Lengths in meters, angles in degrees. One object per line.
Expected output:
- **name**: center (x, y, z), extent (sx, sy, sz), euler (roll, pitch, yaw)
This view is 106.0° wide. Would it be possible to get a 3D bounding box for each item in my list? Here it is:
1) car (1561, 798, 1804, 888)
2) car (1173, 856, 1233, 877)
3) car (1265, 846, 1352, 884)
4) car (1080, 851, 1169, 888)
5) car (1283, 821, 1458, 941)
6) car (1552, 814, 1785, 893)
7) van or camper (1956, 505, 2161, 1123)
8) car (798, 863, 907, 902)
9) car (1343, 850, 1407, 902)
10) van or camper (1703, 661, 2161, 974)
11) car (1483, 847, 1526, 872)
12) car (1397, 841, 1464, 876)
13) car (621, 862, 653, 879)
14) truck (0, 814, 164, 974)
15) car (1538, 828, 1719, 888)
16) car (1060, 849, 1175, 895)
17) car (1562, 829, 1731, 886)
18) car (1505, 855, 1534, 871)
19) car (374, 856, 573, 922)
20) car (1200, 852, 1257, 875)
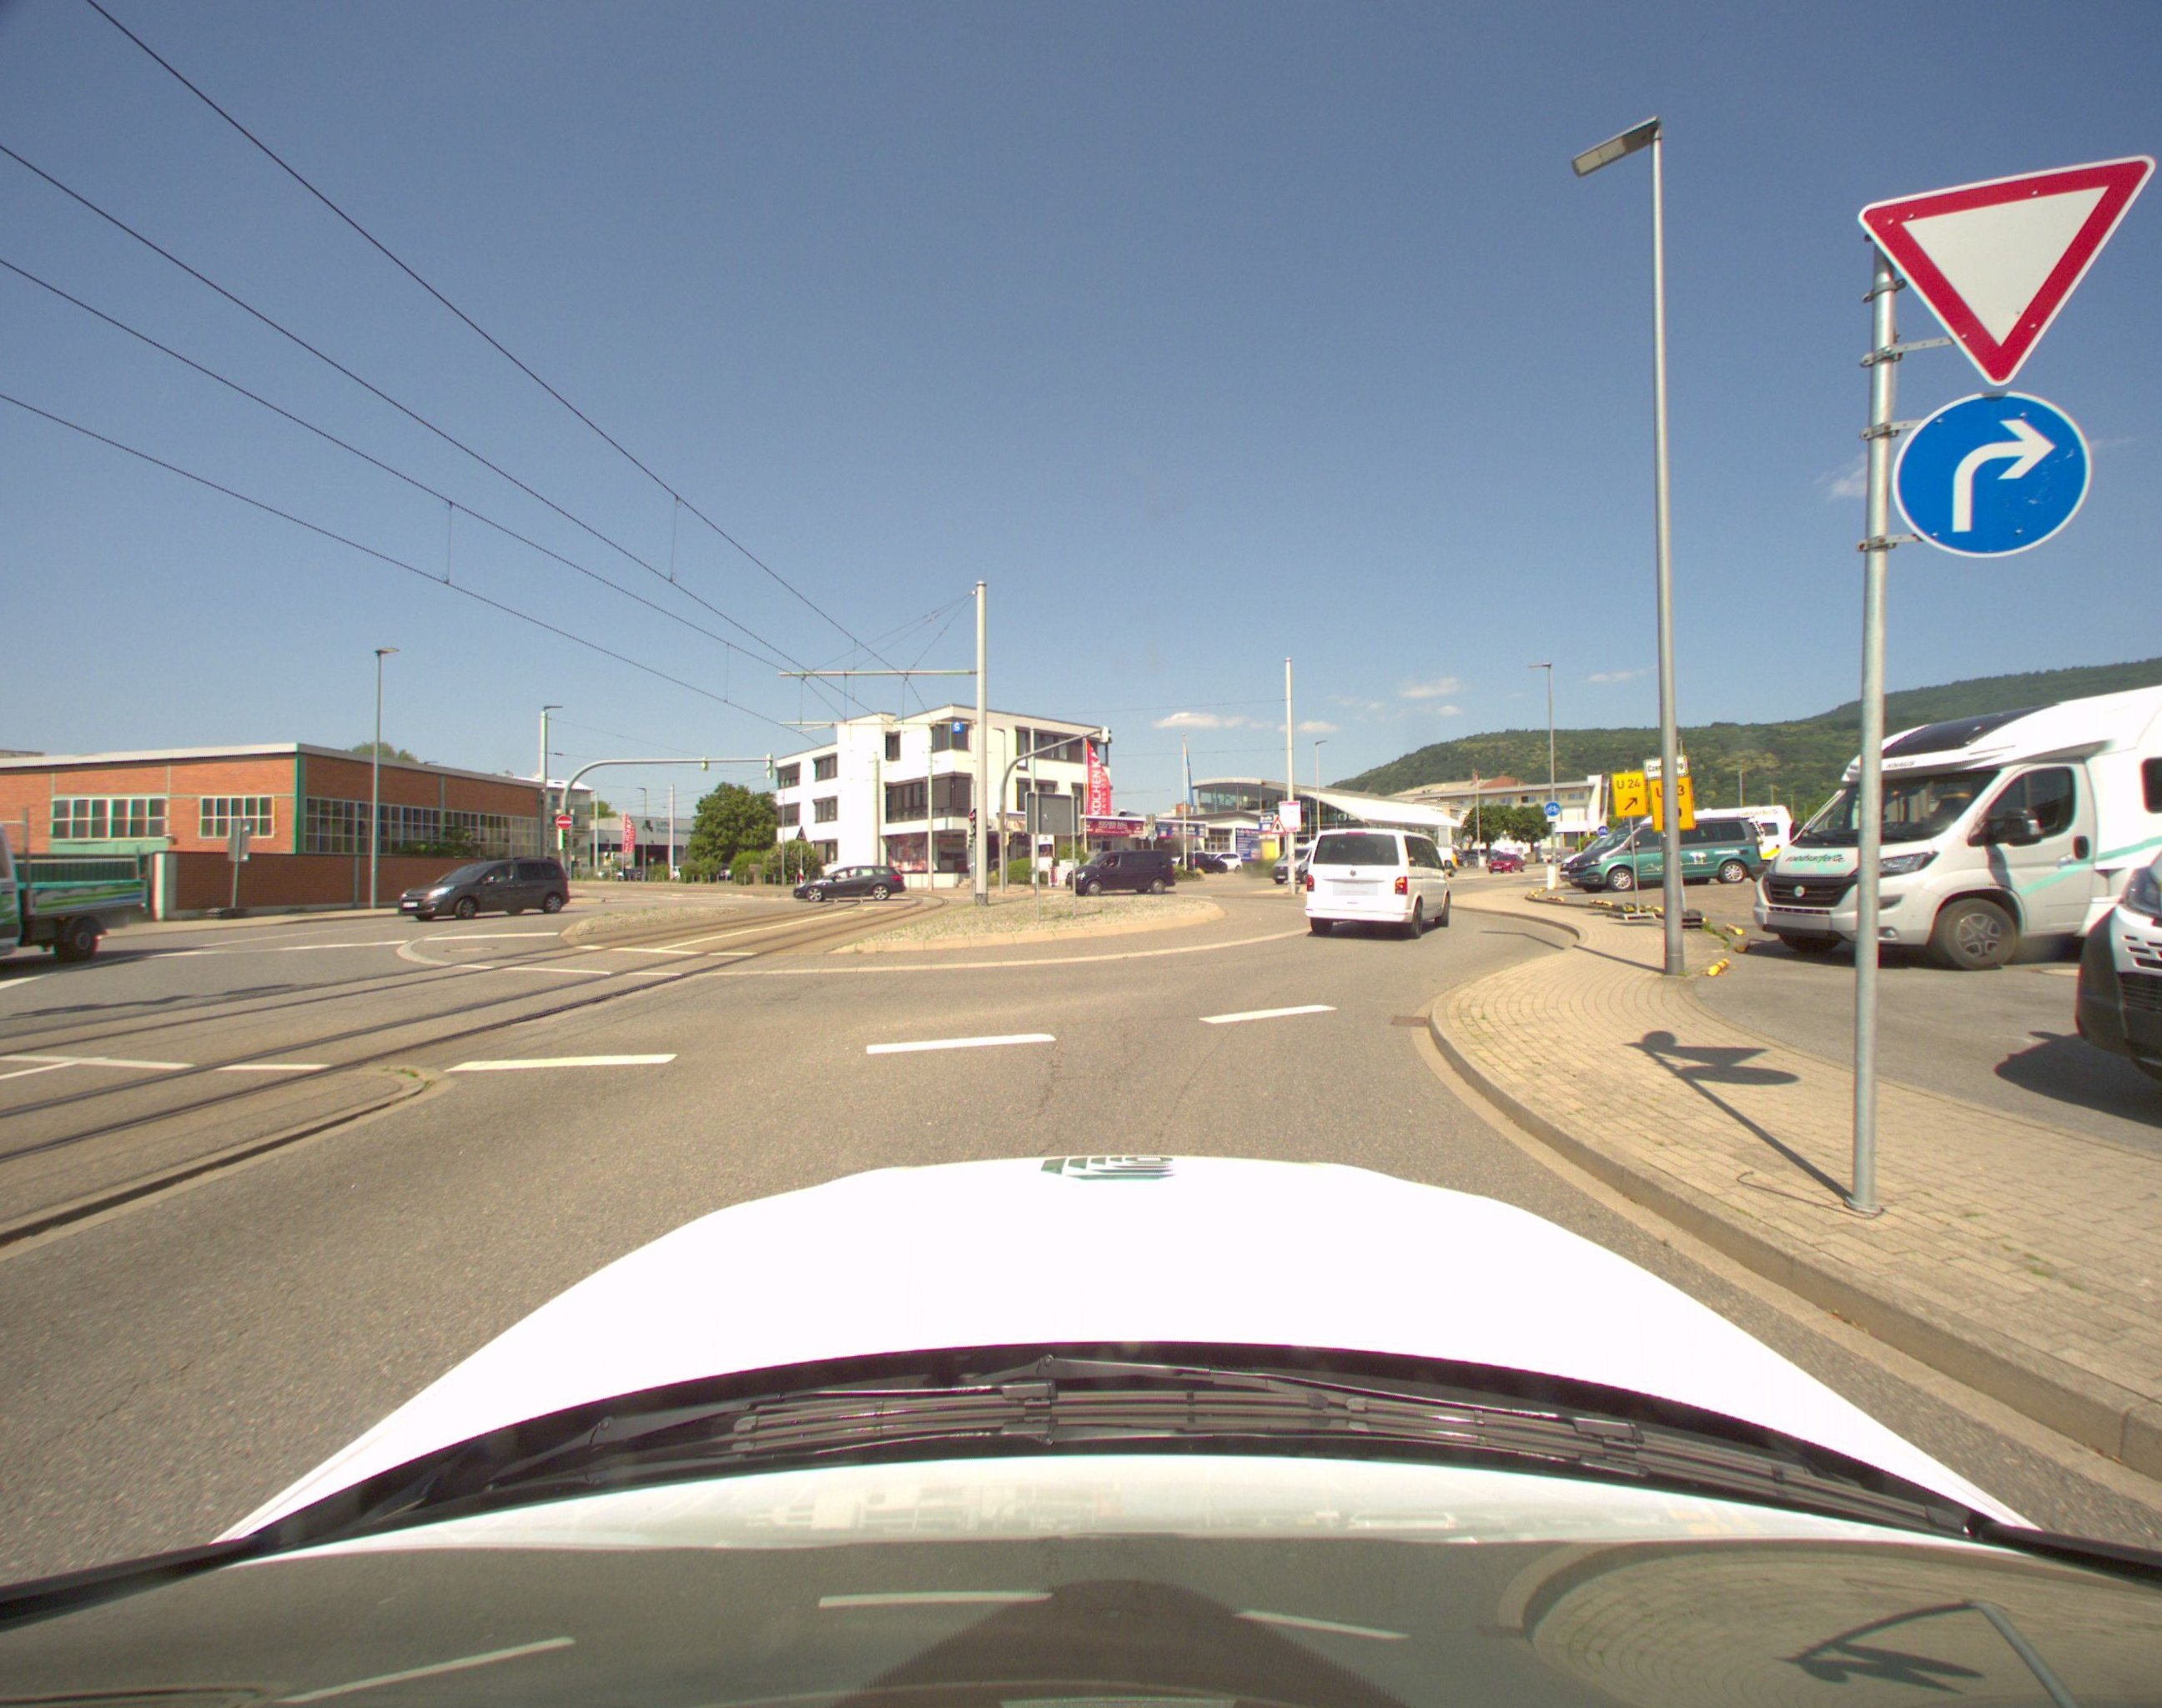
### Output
- **car**: center (19.836, -0.319, 27.165), extent (6.101, 2.717, 2.312), euler (-2, -1, 9)
- **car**: center (8.561, 0.864, 56.929), extent (2.007, 1.427, 4.343), euler (-1, -1, 44)
- **car**: center (12.210, 0.553, 43.624), extent (4.851, 1.935, 1.912), euler (0, -1, -37)
- **car**: center (2.564, 0.863, 46.967), extent (5.309, 1.966, 1.942), euler (0, -1, -42)
- **car**: center (5.954, 0.454, 16.289), extent (2.141, 2.013, 5.050), euler (0, 0, 33)
- **car**: center (17.175, -0.001, 24.078), extent (5.182, 2.113, 2.101), euler (-1, -1, 7)
- **van or camper**: center (7.725, -0.243, 3.339), extent (5.785, 2.774, 2.093), euler (-2, 0, 3)
- **car**: center (-9.649, 1.192, 34.668), extent (4.228, 1.556, 1.963), euler (-1, -1, -10)
- **car**: center (10.640, 0.757, 29.480), extent (1.977, 1.733, 4.587), euler (-1, -1, 20)
- **van or camper**: center (11.468, -0.437, 9.127), extent (7.036, 2.946, 2.335), euler (-3, -1, 1)
- **car**: center (32.796, 0.436, 63.002), extent (2.002, 1.838, 4.899), euler (-1, -1, 40)
- **car**: center (22.444, 0.271, 52.194), extent (4.960, 2.114, 2.004), euler (-1, 0, -41)
- **car**: center (-49.984, 1.887, 91.600), extent (3.949, 1.783, 2.012), euler (-4, -2, 44)
- **truck**: center (-17.069, 0.600, 12.026), extent (2.212, 2.337, 6.338), euler (0, -1, -24)
- **car**: center (19.965, 0.184, 29.939), extent (5.109, 2.000, 2.031), euler (-2, -2, 11)
- **car**: center (1.608, 0.753, 36.074), extent (4.642, 1.910, 2.083), euler (-1, 0, -22)
- **car**: center (22.230, 0.170, 32.262), extent (5.095, 2.014, 1.938), euler (-2, -1, 15)
- **car**: center (46.583, 0.951, 86.665), extent (1.734, 1.585, 3.673), euler (-1, -1, 12)
- **car**: center (-18.192, 0.986, 24.675), extent (1.966, 1.818, 4.432), euler (-1, -1, 22)
- **car**: center (11.493, 0.723, 63.349), extent (1.863, 1.589, 4.957), euler (-4, -3, 44)
